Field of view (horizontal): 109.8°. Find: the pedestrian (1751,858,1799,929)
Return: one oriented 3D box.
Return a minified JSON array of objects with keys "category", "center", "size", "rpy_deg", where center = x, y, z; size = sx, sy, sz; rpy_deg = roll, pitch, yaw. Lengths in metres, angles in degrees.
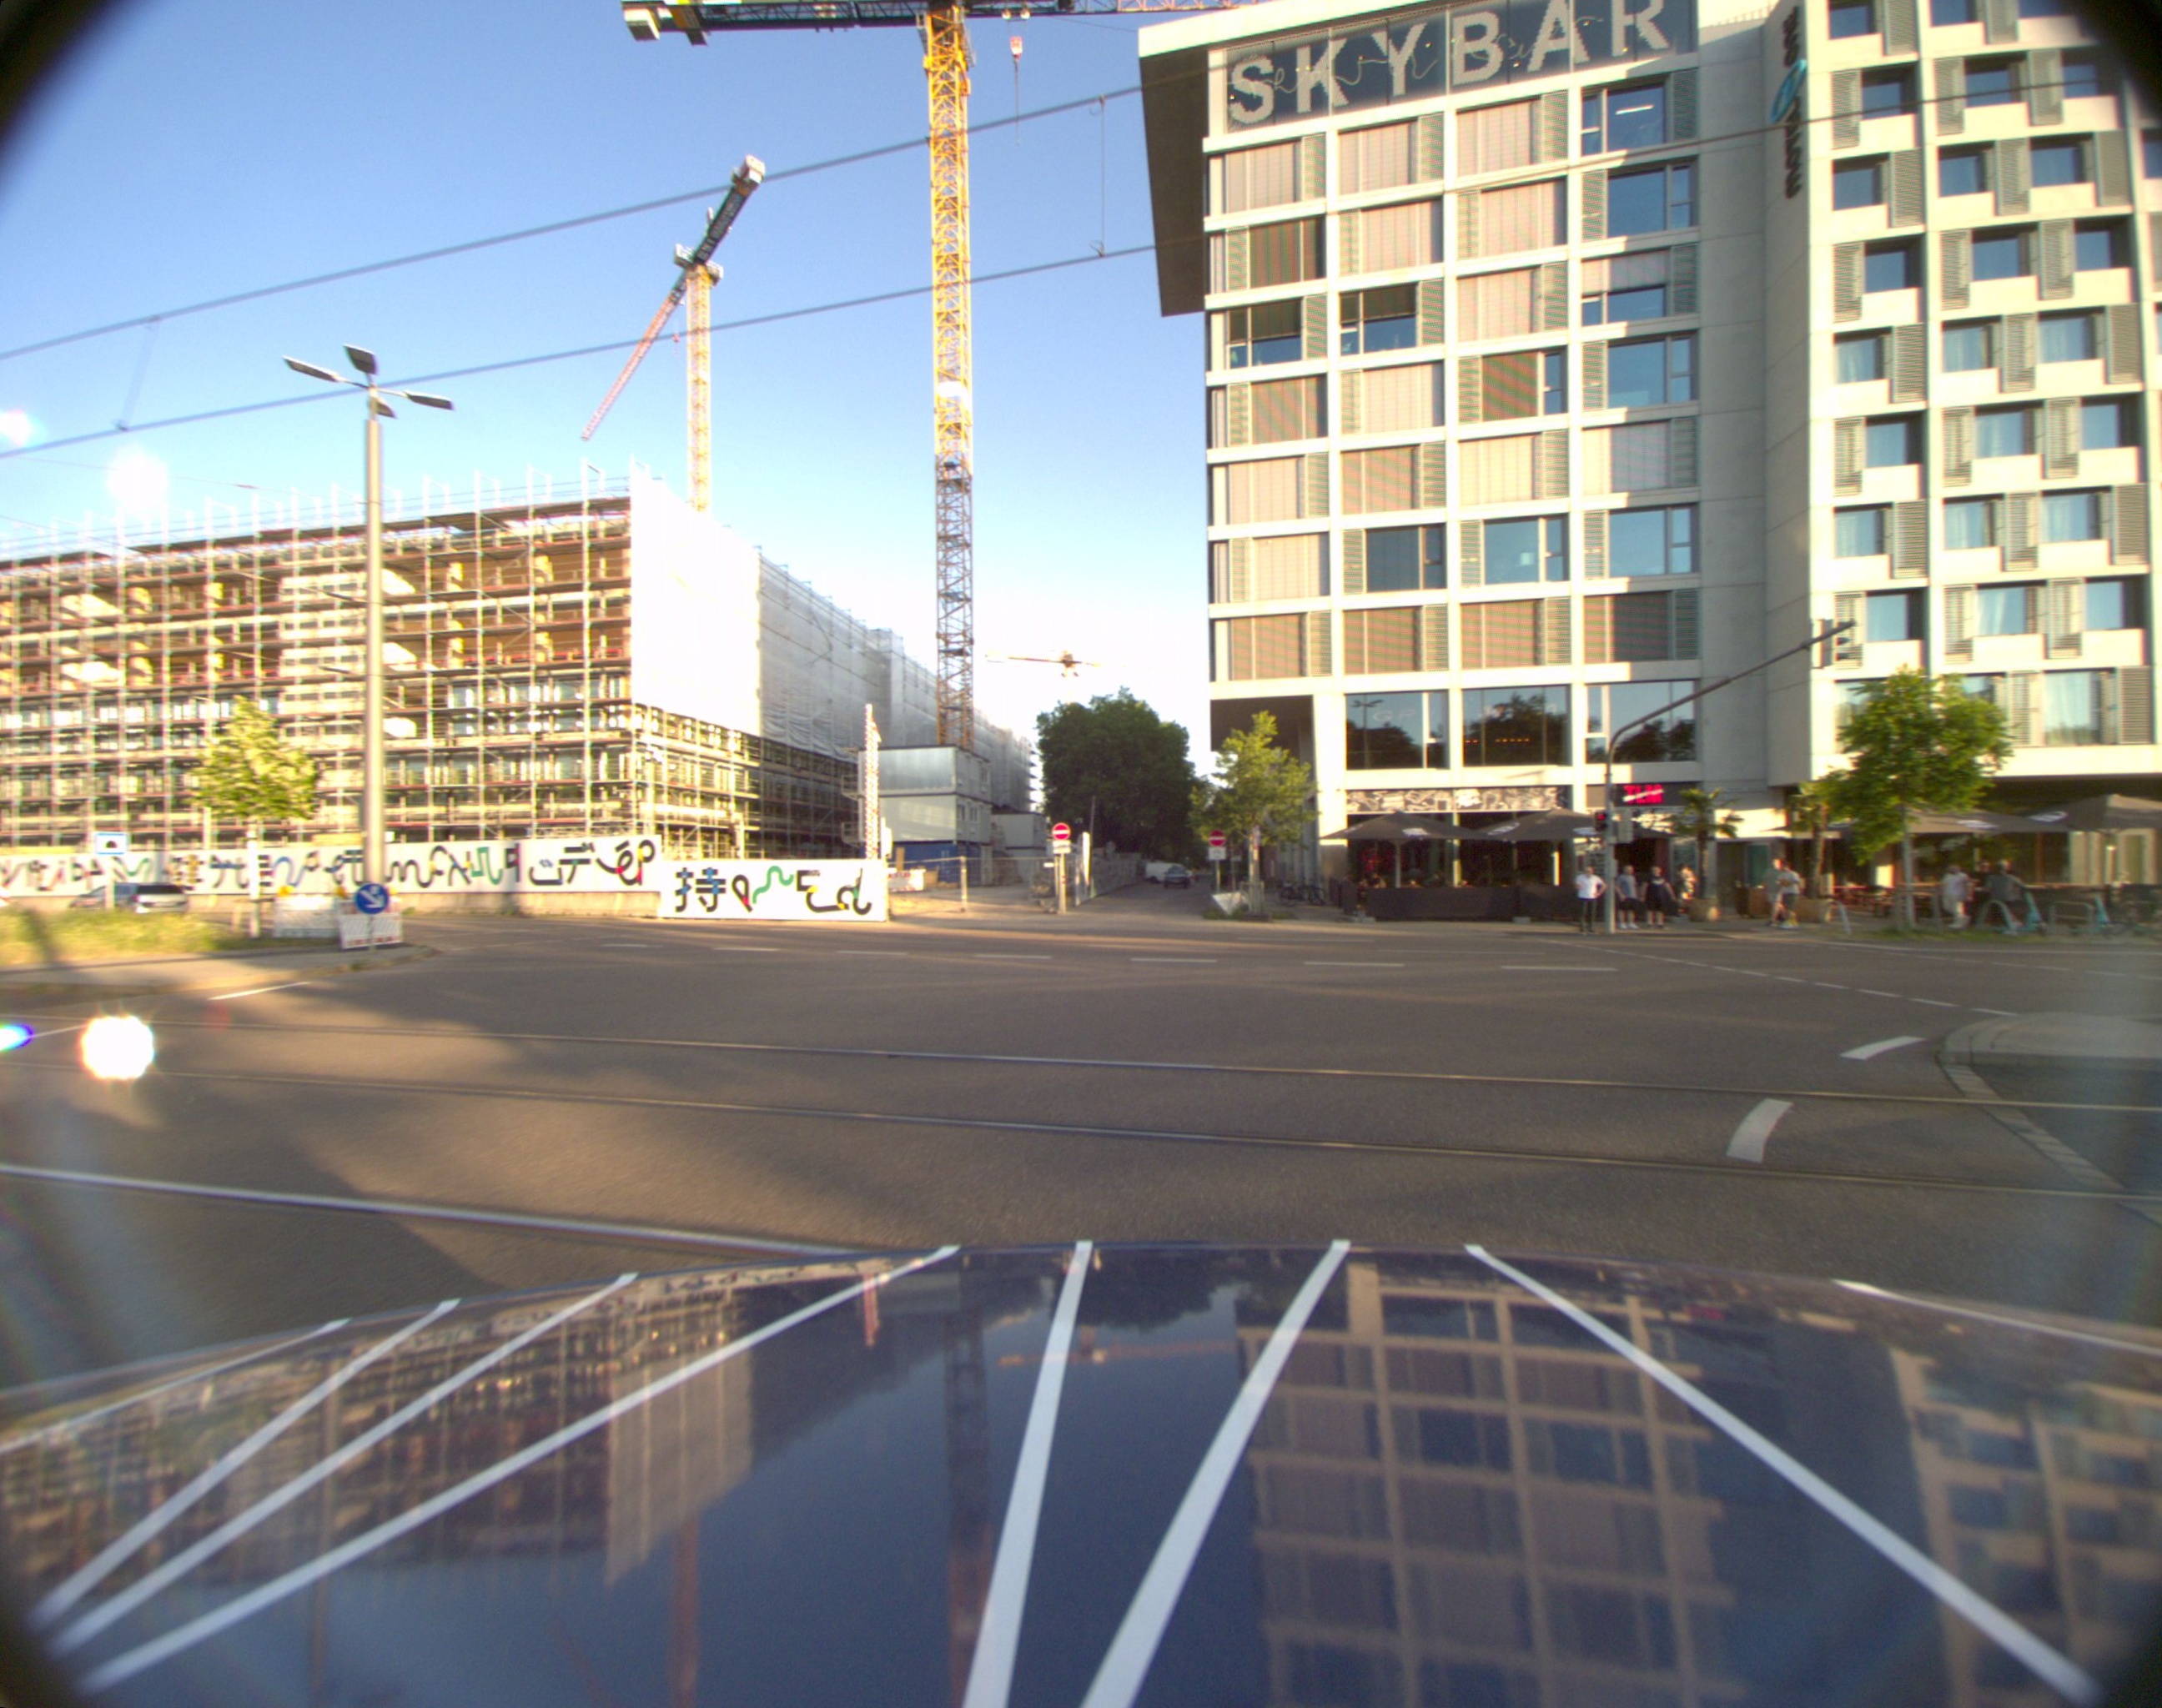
[{"category":"pedestrian","center":[19.424,1.094,21.269],"size":[0.707,1.913,0.681],"rpy_deg":[0,3,10]}]

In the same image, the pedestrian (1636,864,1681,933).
[{"category":"pedestrian","center":[15.829,1.216,20.844],"size":[0.680,1.826,0.709],"rpy_deg":[0,3,8]}]

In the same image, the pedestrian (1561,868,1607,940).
[{"category":"pedestrian","center":[13.243,1.297,20.031],"size":[0.762,1.826,0.709],"rpy_deg":[-1,3,8]}]

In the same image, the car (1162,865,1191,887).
[{"category":"car","center":[7.479,1.667,59.118],"size":[2.006,1.588,3.709],"rpy_deg":[0,0,10]}]

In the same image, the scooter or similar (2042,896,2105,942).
[{"category":"scooter or similar","center":[23.915,1.554,18.319],"size":[0.291,1.028,1.010],"rpy_deg":[1,1,10]}]

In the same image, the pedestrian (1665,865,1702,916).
[{"category":"pedestrian","center":[19.450,1.171,24.539],"size":[0.707,1.594,0.681],"rpy_deg":[0,1,16]}]

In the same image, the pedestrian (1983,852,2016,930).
[{"category":"pedestrian","center":[24.070,0.965,19.911],"size":[0.503,2.002,0.550],"rpy_deg":[-1,0,-39]}]

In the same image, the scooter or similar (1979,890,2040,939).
[{"category":"scooter or similar","center":[22.861,1.483,18.729],"size":[0.337,1.079,0.975],"rpy_deg":[2,3,10]}]

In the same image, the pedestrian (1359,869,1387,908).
[{"category":"pedestrian","center":[10.887,1.275,28.375],"size":[0.772,1.406,0.605],"rpy_deg":[-1,0,-7]}]

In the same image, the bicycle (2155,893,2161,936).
[{"category":"bicycle","center":[26.737,1.517,17.841],"size":[0.442,1.053,1.915],"rpy_deg":[-1,1,6]}]

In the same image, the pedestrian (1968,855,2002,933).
[{"category":"pedestrian","center":[23.429,1.020,19.693],"size":[0.503,2.002,0.550],"rpy_deg":[-1,0,-39]}]

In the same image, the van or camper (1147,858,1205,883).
[{"category":"van or camper","center":[9.001,1.552,71.834],"size":[4.944,2.110,2.496],"rpy_deg":[-3,-1,18]}]

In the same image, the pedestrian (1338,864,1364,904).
[{"category":"pedestrian","center":[9.991,1.095,28.117],"size":[0.771,1.454,0.606],"rpy_deg":[-1,0,9]}]

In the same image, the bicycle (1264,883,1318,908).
[{"category":"bicycle","center":[8.243,1.623,29.801],"size":[1.975,0.869,0.395],"rpy_deg":[-2,2,8]}]

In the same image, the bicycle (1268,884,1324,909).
[{"category":"bicycle","center":[8.164,1.625,28.902],"size":[1.975,0.869,0.395],"rpy_deg":[-2,2,8]}]

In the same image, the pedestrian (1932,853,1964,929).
[{"category":"pedestrian","center":[23.384,0.982,20.495],"size":[0.503,2.002,0.550],"rpy_deg":[-1,0,-39]}]

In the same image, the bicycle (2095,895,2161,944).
[{"category":"bicycle","center":[25.426,1.560,17.975],"size":[0.442,1.053,1.915],"rpy_deg":[-1,1,6]}]

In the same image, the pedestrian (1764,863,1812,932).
[{"category":"pedestrian","center":[19.169,1.179,20.605],"size":[0.707,1.812,0.617],"rpy_deg":[0,3,12]}]

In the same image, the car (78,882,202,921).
[{"category":"car","center":[-36.664,1.824,29.616],"size":[4.060,1.446,1.672],"rpy_deg":[-1,-2,18]}]

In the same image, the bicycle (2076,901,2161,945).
[{"category":"bicycle","center":[25.064,1.641,18.082],"size":[0.442,0.865,1.871],"rpy_deg":[-1,1,6]}]
